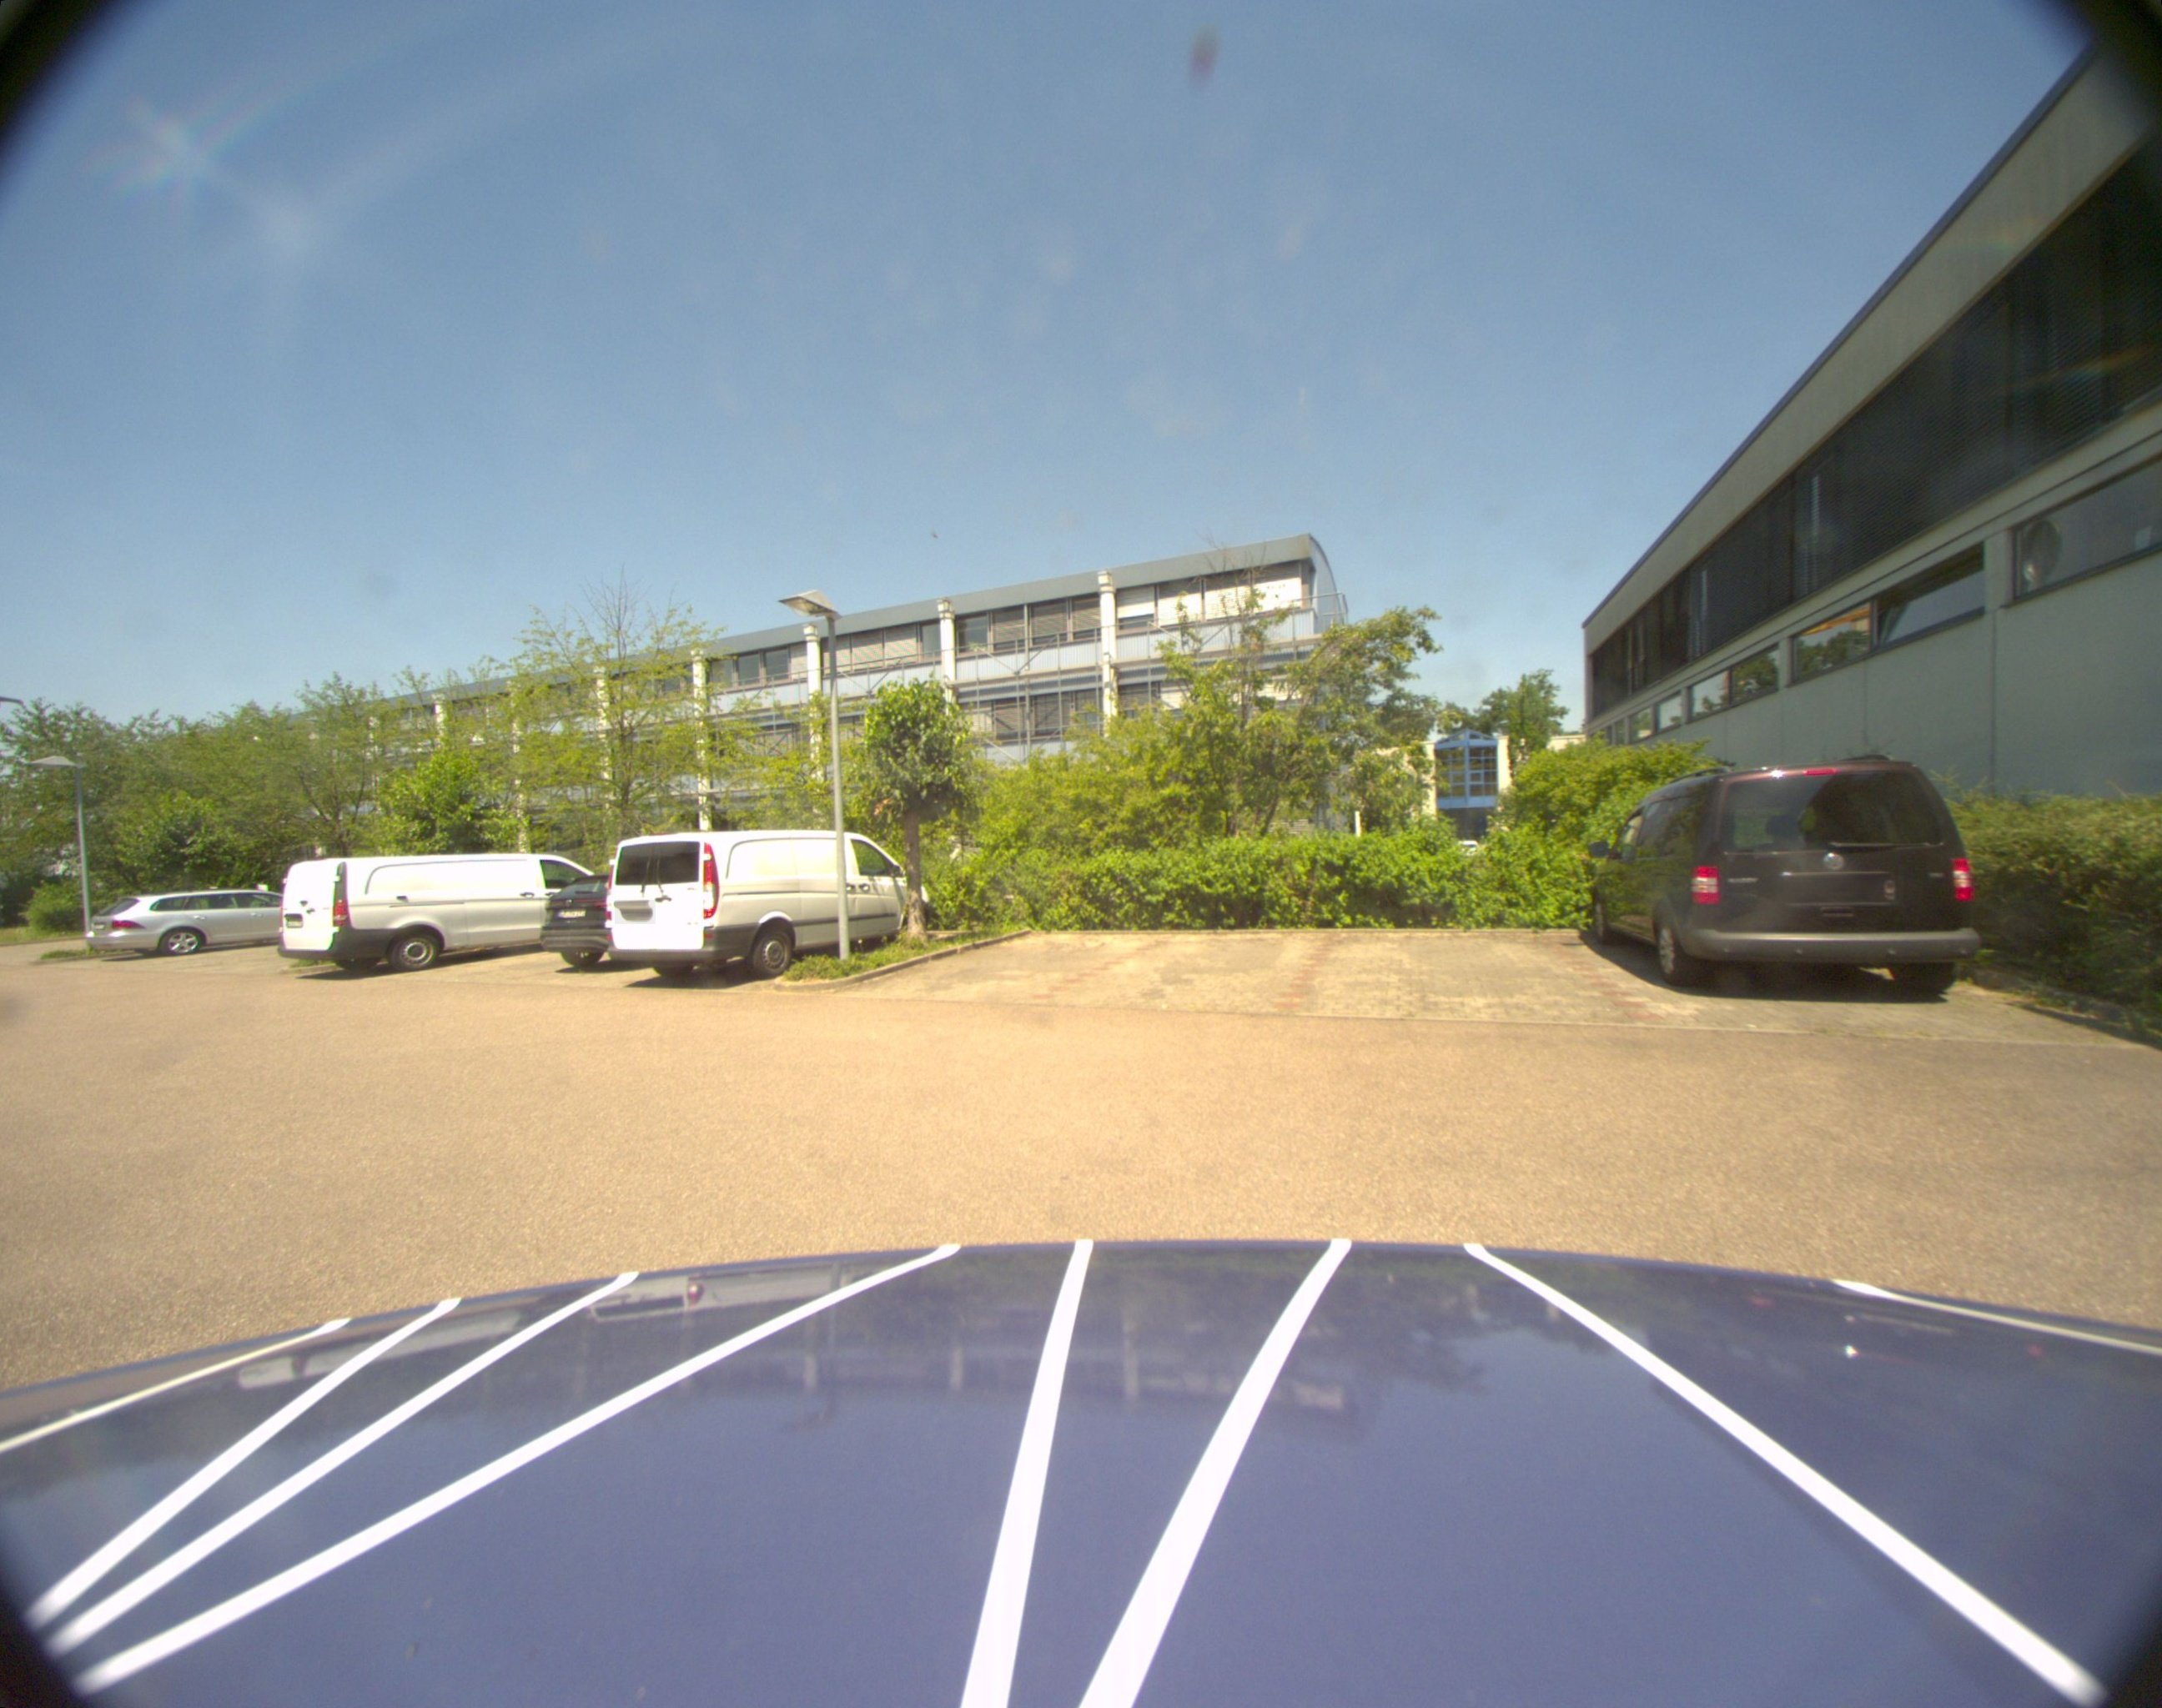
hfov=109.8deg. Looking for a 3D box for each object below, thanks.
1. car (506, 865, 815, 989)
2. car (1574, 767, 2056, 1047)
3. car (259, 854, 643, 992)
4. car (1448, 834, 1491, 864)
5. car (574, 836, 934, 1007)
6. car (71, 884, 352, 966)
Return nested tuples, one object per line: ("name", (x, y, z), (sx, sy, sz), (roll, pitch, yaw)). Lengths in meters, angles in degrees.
("car", (-6.597, 1.047, 12.517), (1.736, 1.475, 4.203), (-2, 1, 22))
("car", (6.330, 0.319, 7.300), (1.864, 1.849, 4.234), (-2, 1, 22))
("car", (-10.947, 1.055, 13.783), (1.852, 1.845, 4.942), (-2, 1, 25))
("car", (23.702, -0.345, 46.453), (1.833, 1.558, 4.004), (-2, 2, 20))
("car", (-4.278, 0.745, 10.949), (1.864, 1.849, 4.683), (-2, 1, 22))
("car", (-20.869, 1.633, 18.474), (1.735, 1.475, 4.091), (-2, 1, 25))
